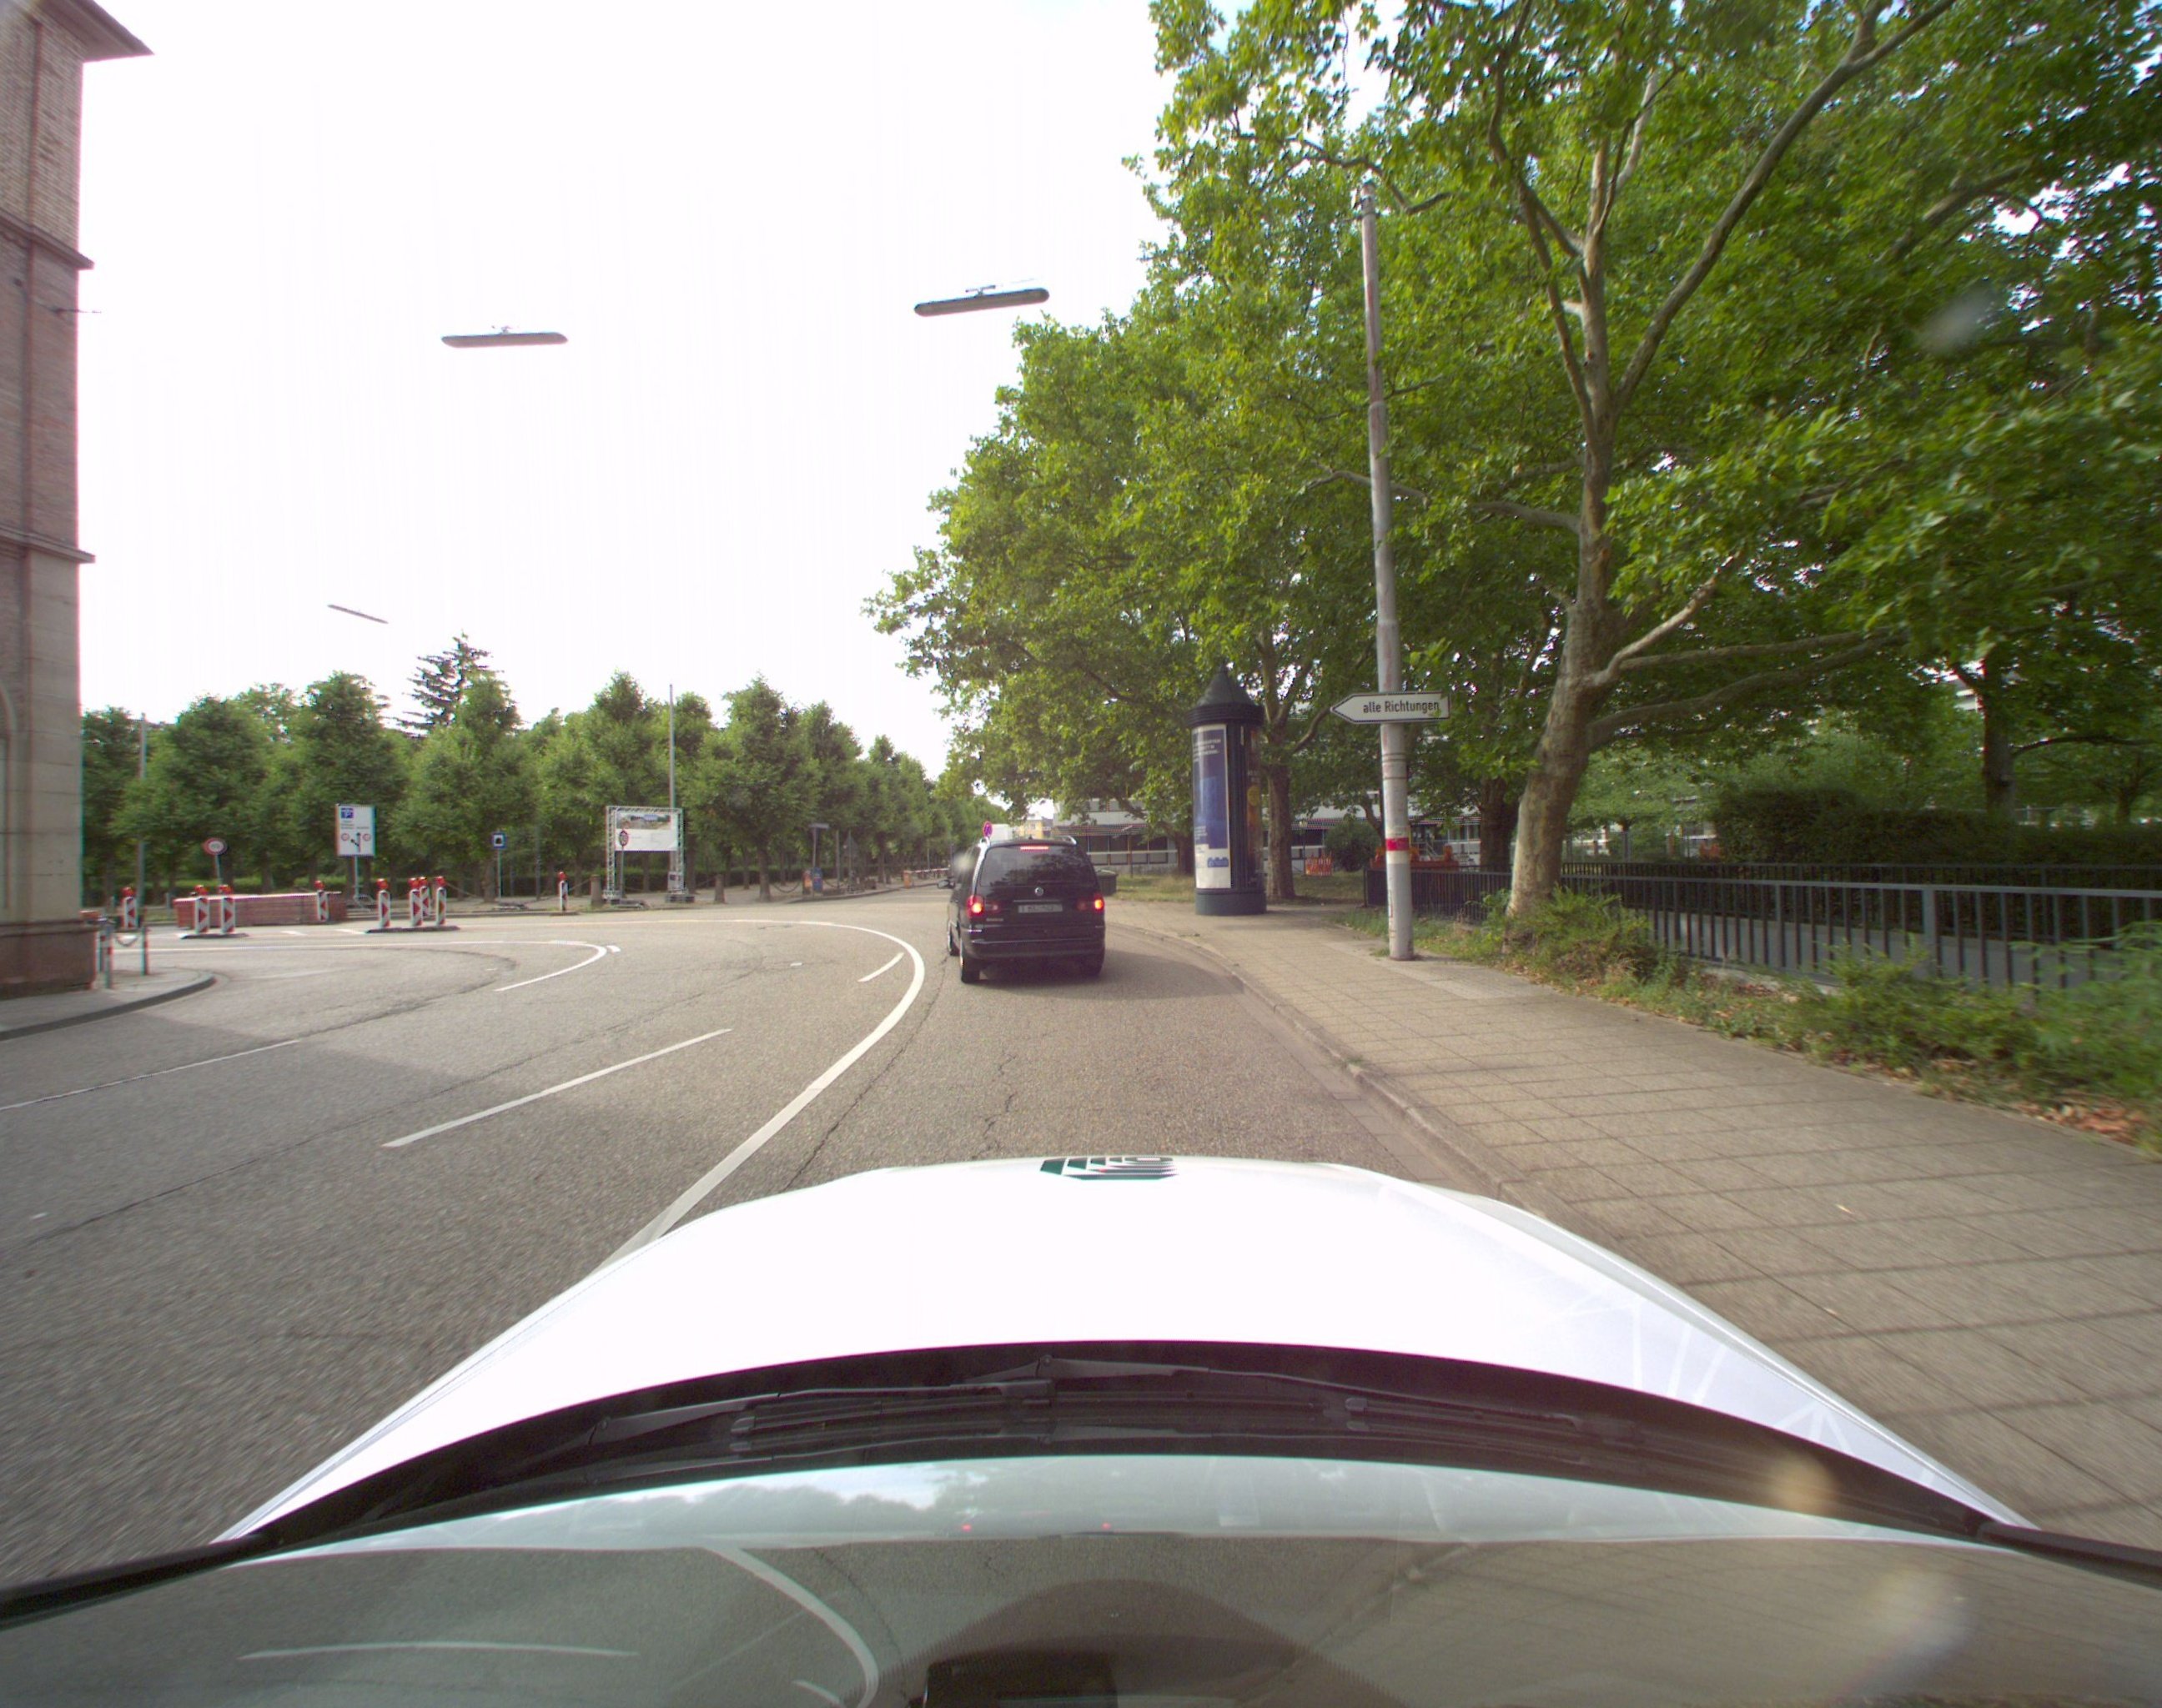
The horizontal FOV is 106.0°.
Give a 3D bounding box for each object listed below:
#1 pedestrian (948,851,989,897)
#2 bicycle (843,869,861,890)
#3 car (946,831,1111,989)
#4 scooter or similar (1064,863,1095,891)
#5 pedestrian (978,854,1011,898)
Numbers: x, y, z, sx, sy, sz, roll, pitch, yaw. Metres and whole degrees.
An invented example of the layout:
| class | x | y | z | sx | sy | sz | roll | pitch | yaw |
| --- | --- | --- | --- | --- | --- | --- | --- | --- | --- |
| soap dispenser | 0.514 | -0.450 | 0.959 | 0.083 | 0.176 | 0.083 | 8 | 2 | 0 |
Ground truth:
| class | x | y | z | sx | sy | sz | roll | pitch | yaw |
| --- | --- | --- | --- | --- | --- | --- | --- | --- | --- |
| pedestrian | -4.304 | 0.745 | 31.189 | 0.951 | 1.741 | 1.264 | 0 | 0 | 39 |
| bicycle | -12.899 | 1.416 | 45.857 | 0.954 | 1.110 | 2.564 | 0 | 0 | -17 |
| car | -0.918 | 0.630 | 11.252 | 1.794 | 1.708 | 4.116 | -2 | 0 | -10 |
| scooter or similar | -0.079 | 1.075 | 38.307 | 1.447 | 1.269 | 0.569 | 0 | 0 | -5 |
| pedestrian | -3.292 | 0.829 | 31.008 | 0.887 | 1.641 | 0.858 | 0 | 0 | 35 |
